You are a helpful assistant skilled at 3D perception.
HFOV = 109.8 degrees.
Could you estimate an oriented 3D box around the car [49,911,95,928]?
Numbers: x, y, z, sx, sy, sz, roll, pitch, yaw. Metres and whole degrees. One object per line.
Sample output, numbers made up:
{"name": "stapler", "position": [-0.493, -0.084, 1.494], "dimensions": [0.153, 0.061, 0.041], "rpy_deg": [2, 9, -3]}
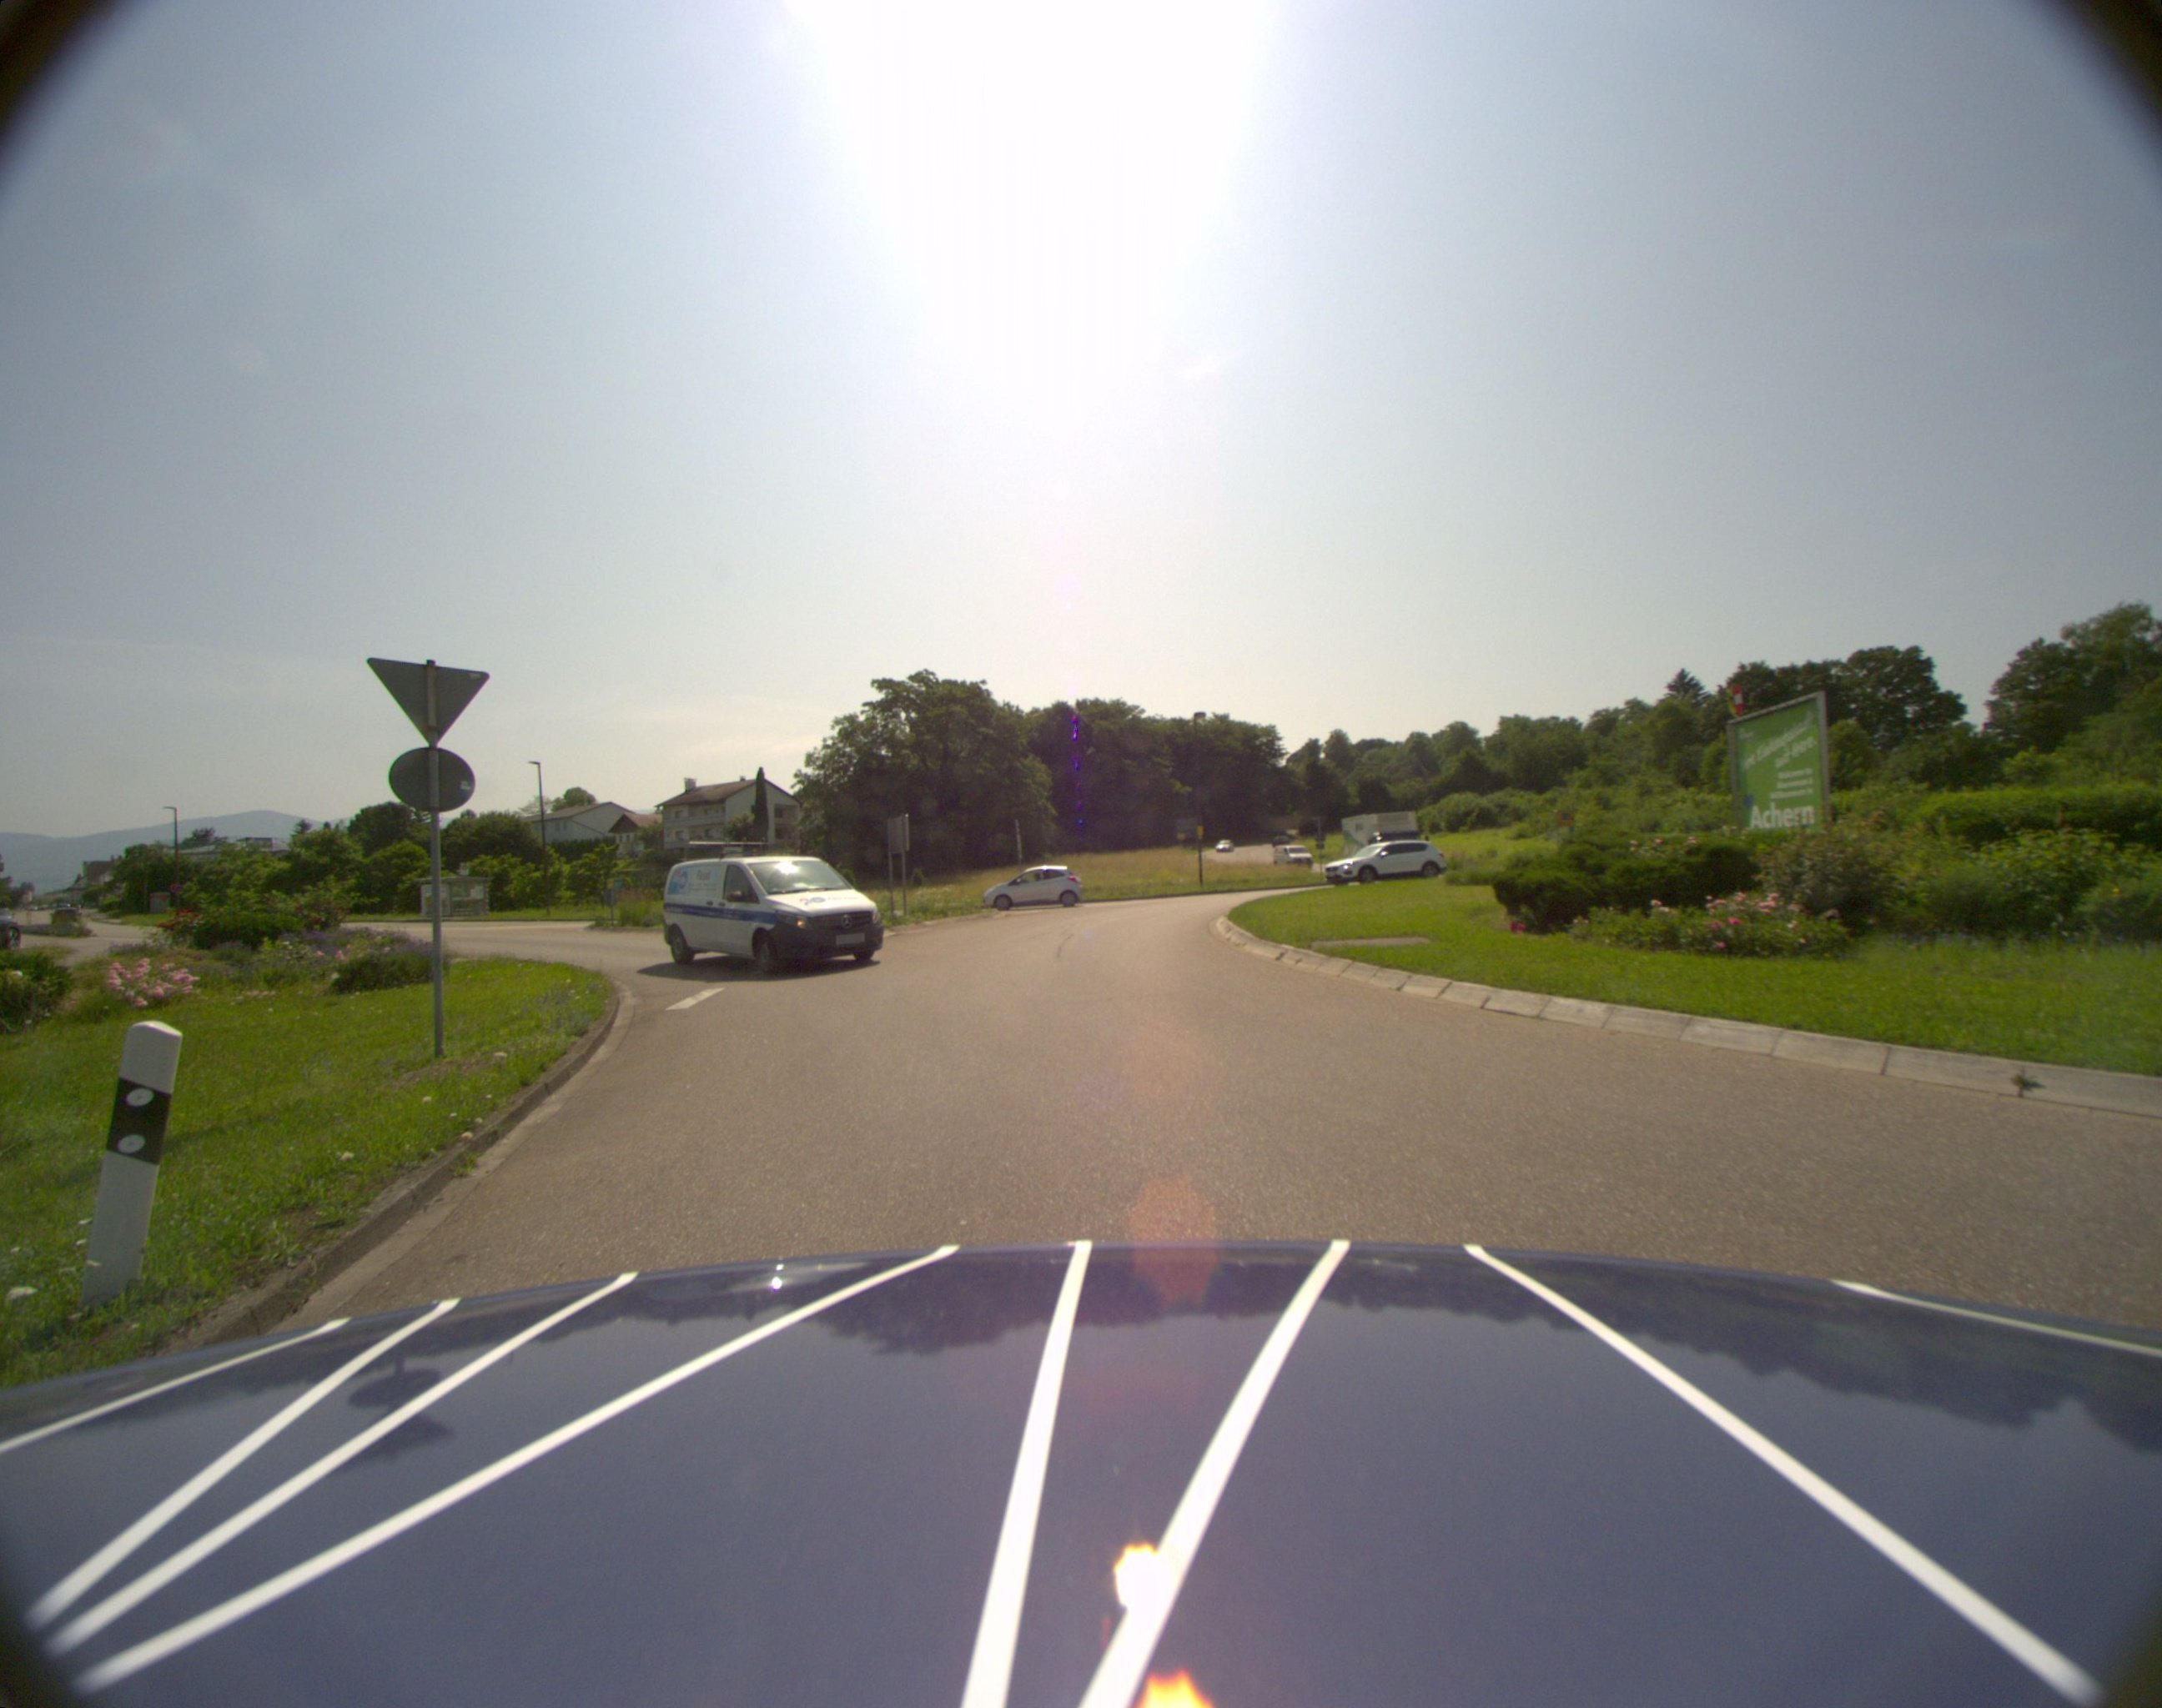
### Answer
{"name": "car", "position": [-100.551, 6.521, 75.720], "dimensions": [4.032, 1.475, 1.777], "rpy_deg": [-2, 0, 22]}

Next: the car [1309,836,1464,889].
{"name": "car", "position": [11.718, 0.307, 29.256], "dimensions": [5.123, 1.642, 2.195], "rpy_deg": [-4, 0, -14]}

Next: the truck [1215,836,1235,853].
{"name": "truck", "position": [19.290, -1.249, 101.620], "dimensions": [2.359, 2.002, 5.445], "rpy_deg": [-4, 0, 13]}

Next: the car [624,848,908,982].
{"name": "car", "position": [-5.666, 1.032, 13.393], "dimensions": [5.217, 1.926, 1.864], "rpy_deg": [-4, 0, 33]}

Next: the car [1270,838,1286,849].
{"name": "car", "position": [28.036, -1.475, 108.134], "dimensions": [1.754, 1.521, 4.220], "rpy_deg": [0, -1, 21]}

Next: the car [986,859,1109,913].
{"name": "car", "position": [-1.208, 1.155, 27.650], "dimensions": [4.197, 1.605, 2.129], "rpy_deg": [-4, -2, -2]}

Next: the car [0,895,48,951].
{"name": "car", "position": [-31.166, 1.983, 20.738], "dimensions": [1.913, 1.503, 4.366], "rpy_deg": [-1, 0, -30]}

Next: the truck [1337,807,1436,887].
{"name": "truck", "position": [16.712, -0.372, 42.310], "dimensions": [2.896, 3.806, 9.028], "rpy_deg": [-4, 0, 8]}

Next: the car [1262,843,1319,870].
{"name": "car", "position": [17.086, 0.195, 62.317], "dimensions": [2.000, 2.002, 5.597], "rpy_deg": [-4, 0, -12]}
